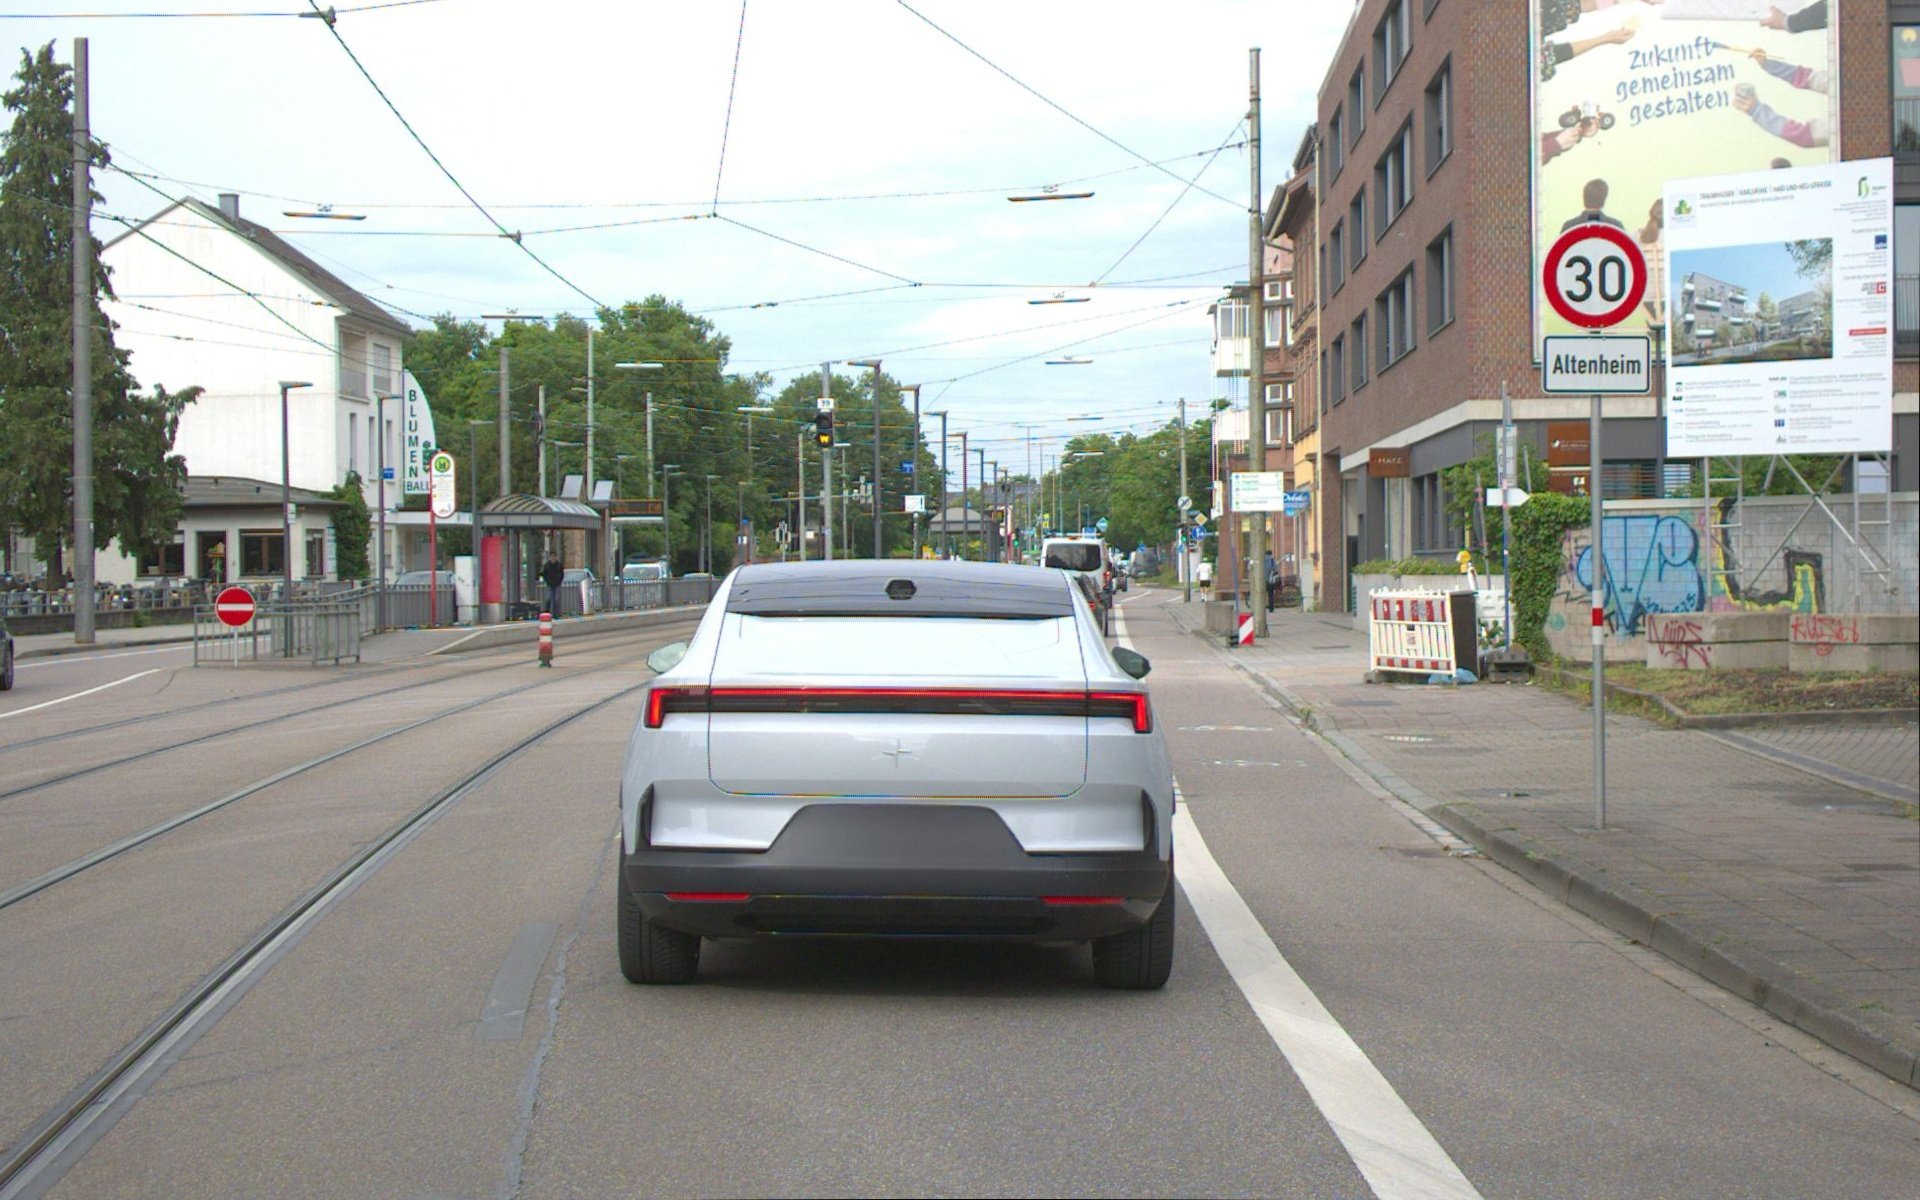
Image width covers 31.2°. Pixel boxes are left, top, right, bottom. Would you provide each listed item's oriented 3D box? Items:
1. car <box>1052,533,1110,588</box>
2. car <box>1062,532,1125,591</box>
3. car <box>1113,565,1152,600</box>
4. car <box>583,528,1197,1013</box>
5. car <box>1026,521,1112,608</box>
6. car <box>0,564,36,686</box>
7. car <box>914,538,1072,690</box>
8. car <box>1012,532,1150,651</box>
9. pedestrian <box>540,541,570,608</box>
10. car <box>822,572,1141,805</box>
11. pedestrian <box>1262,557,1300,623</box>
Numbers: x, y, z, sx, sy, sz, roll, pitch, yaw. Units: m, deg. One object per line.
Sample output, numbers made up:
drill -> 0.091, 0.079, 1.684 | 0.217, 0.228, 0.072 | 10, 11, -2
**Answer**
car -> 4.546, -1.475, 129.881 | 1.993, 2.007, 4.000 | 0, 0, -1
car -> 4.629, -1.343, 119.984 | 1.993, 2.007, 4.000 | 0, 0, -1
car -> 9.970, -1.007, 198.725 | 1.993, 2.007, 4.000 | 0, 0, -1
car -> -0.292, 0.556, 13.281 | 1.999, 1.575, 4.000 | 1, 0, -2
car -> 3.082, -1.001, 98.276 | 2.226, 2.394, 5.123 | 0, 0, -1
car -> -12.937, 0.347, 43.259 | 1.790, 1.525, 4.142 | -2, 0, -5
car -> 0.431, 0.143, 40.060 | 1.681, 1.682, 3.823 | 0, 0, 3
car -> 1.920, -0.159, 55.648 | 1.993, 1.809, 4.000 | -1, 1, -1
pedestrian -> -10.055, -0.631, 85.360 | 0.615, 1.659, 0.697 | 0, 0, 6
car -> 0.182, 0.547, 23.758 | 1.993, 1.415, 4.000 | -1, 1, 1
pedestrian -> 9.247, -0.285, 99.069 | 0.961, 1.844, 0.975 | -2, 1, 9
